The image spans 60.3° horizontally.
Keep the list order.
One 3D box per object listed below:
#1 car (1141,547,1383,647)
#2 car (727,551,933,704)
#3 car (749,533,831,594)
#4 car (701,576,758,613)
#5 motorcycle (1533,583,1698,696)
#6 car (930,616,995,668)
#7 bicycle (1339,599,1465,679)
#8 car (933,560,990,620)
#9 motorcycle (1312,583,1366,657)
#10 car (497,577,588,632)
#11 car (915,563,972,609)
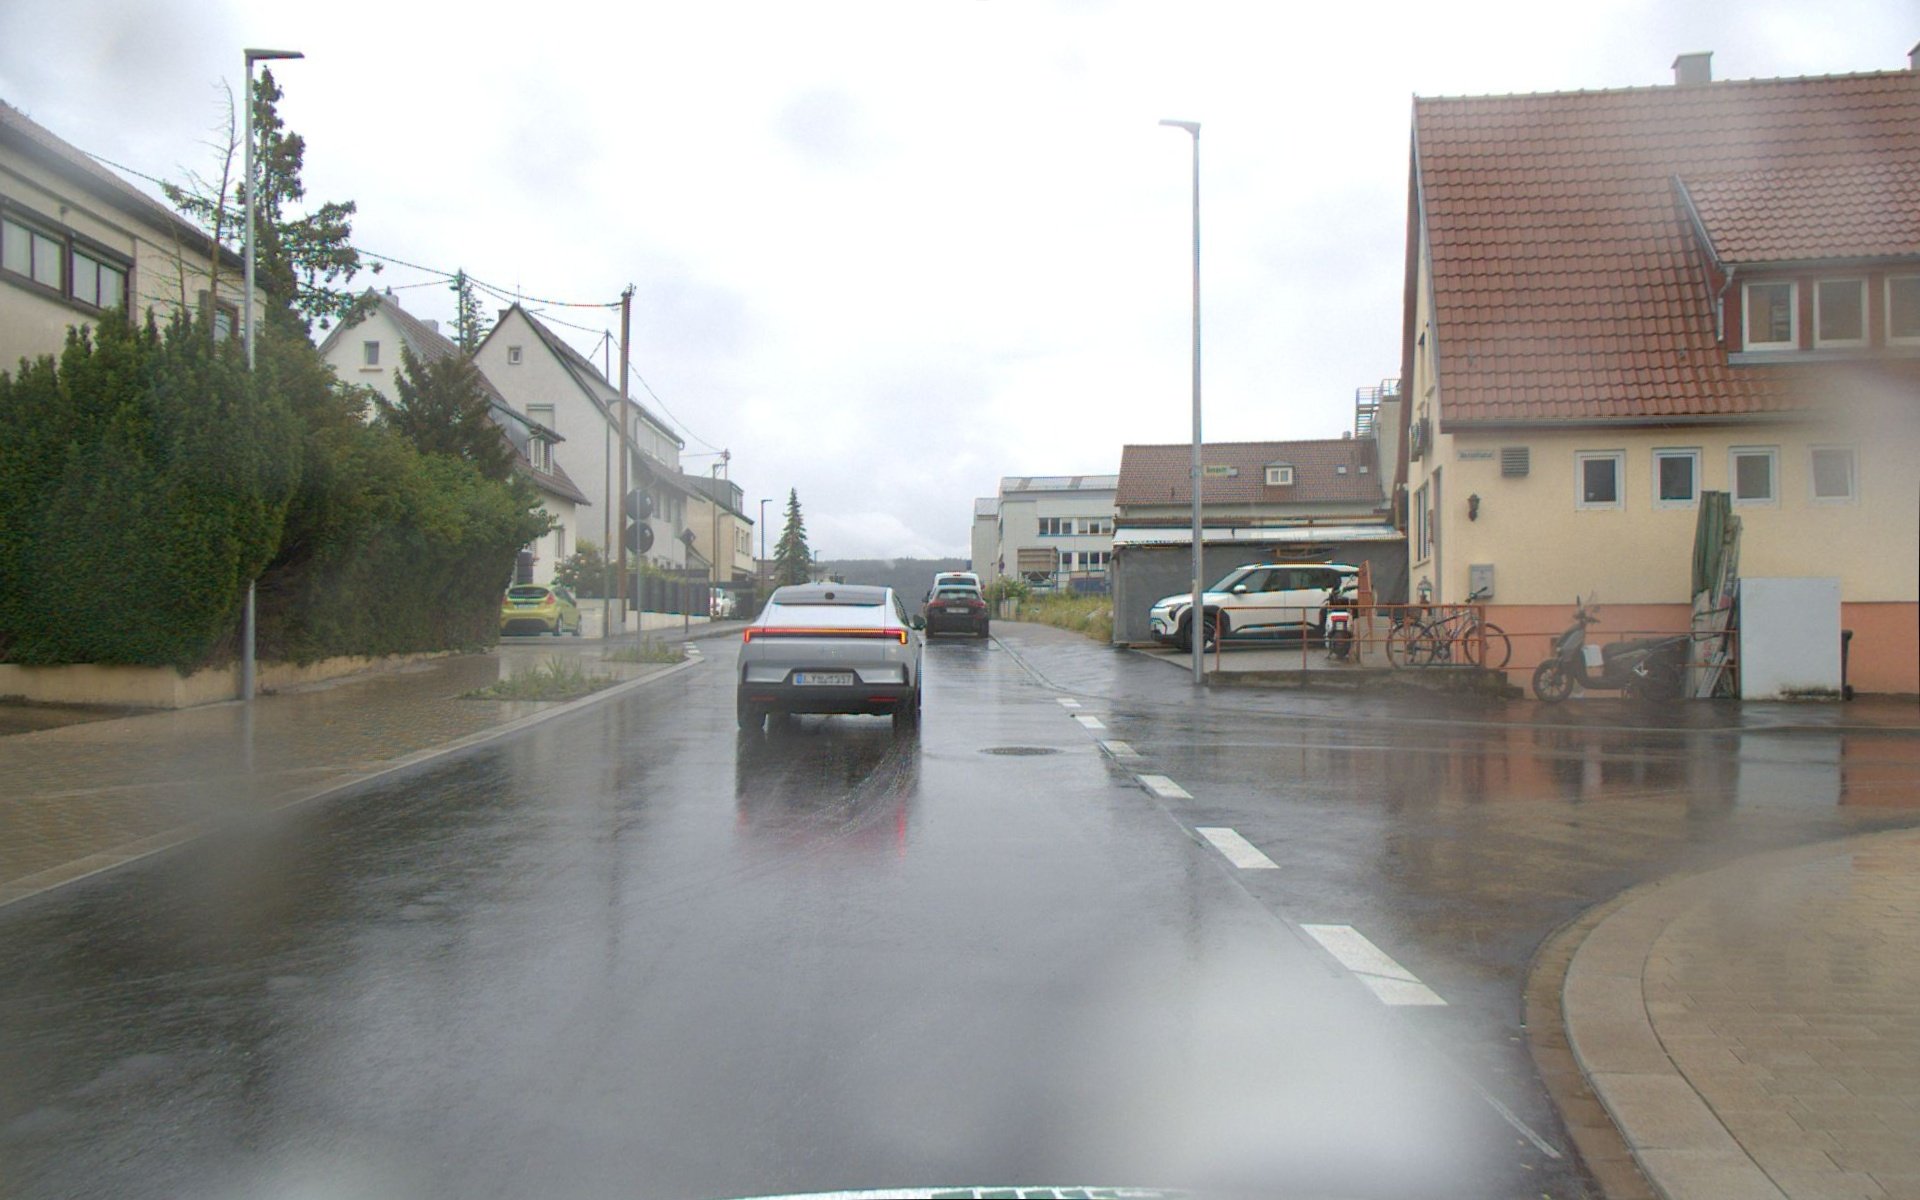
[{"bbox_3d":[5.633,-0.050,31.189,4.132,1.638,1.860,-2,0,-3],"label":"car"},{"bbox_3d":[-1.347,0.276,18.985,1.952,1.528,4.670,0,0,0],"label":"car"},{"bbox_3d":[-4.602,-0.949,45.210,1.890,1.566,4.319,0,0,-2],"label":"car"},{"bbox_3d":[-10.495,-0.231,75.568,1.953,1.536,4.894,3,0,-1],"label":"car"},{"bbox_3d":[8.703,0.517,22.019,1.989,1.482,0.489,0,0,12],"label":"motorcycle"},{"bbox_3d":[0.025,1.166,47.105,1.733,1.359,4.319,0,0,-1],"label":"car"},{"bbox_3d":[6.328,0.551,23.751,1.732,1.115,0.490,0,1,13],"label":"bicycle"},{"bbox_3d":[0.021,-0.323,54.000,1.733,1.857,4.573,0,0,-1],"label":"car"},{"bbox_3d":[5.996,0.298,26.239,0.477,1.115,2.001,0,1,3],"label":"motorcycle"},{"bbox_3d":[-11.836,0.139,47.056,1.742,1.493,3.456,0,-1,0],"label":"car"},{"bbox_3d":[-0.647,-0.504,60.327,1.611,1.602,4.637,0,0,-6],"label":"car"}]
